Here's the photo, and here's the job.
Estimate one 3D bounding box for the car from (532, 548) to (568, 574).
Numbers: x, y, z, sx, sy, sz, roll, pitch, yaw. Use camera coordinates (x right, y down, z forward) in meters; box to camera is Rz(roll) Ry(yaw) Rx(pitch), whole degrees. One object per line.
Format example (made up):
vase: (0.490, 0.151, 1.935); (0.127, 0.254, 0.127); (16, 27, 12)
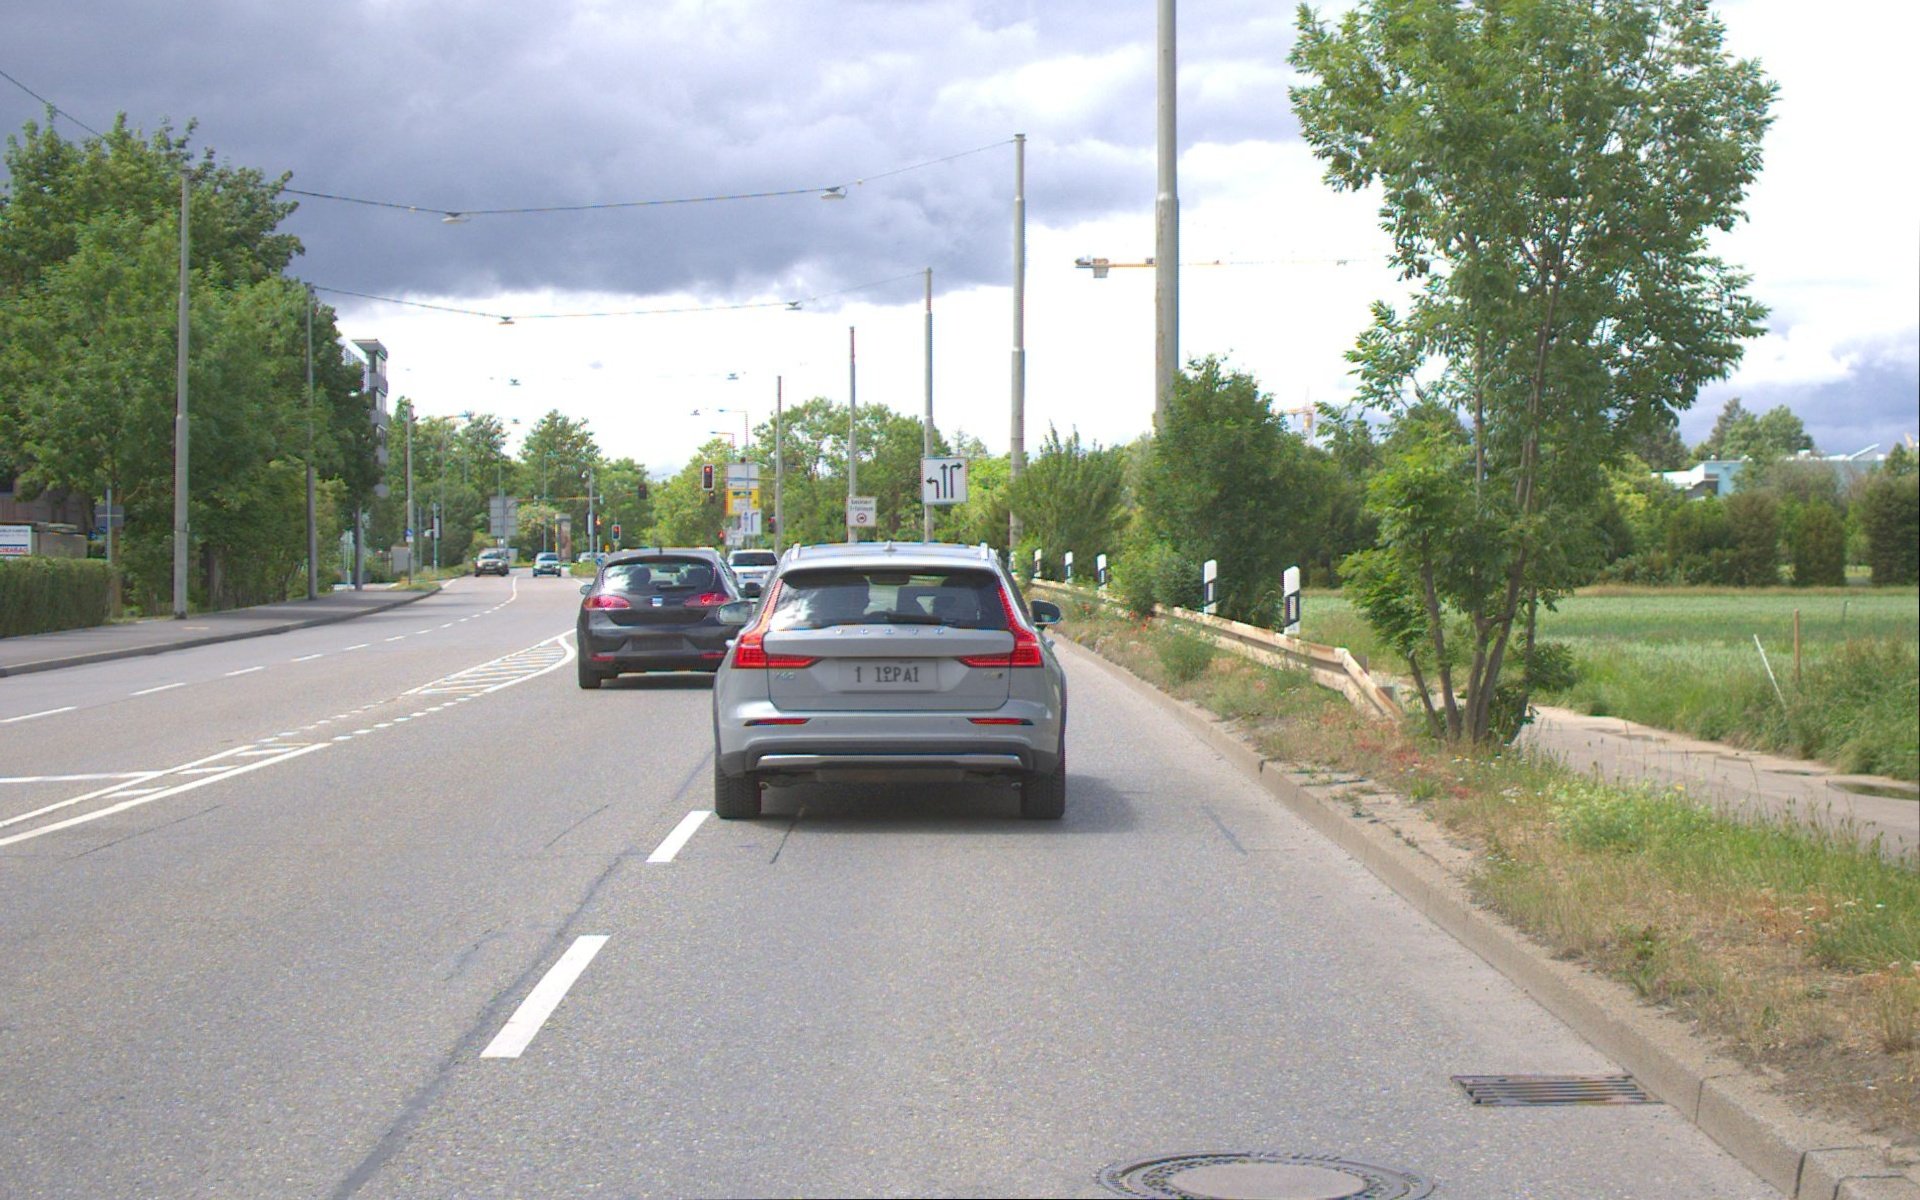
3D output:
car: (-24.814, -2.349, 208.177); (1.881, 1.515, 4.000); (2, 0, -3)

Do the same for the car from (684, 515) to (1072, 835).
car: (-0.410, 0.369, 19.204); (1.895, 1.549, 4.000); (2, 0, 0)

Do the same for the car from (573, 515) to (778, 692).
car: (-2.957, 0.027, 36.368); (1.993, 1.711, 4.000); (2, 0, -3)

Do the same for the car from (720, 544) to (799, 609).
car: (-5.482, -0.653, 94.476); (1.993, 1.689, 4.000); (2, 0, -2)

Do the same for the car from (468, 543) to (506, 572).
car: (-28.881, -2.577, 210.026); (1.881, 1.711, 4.000); (2, 0, -3)
